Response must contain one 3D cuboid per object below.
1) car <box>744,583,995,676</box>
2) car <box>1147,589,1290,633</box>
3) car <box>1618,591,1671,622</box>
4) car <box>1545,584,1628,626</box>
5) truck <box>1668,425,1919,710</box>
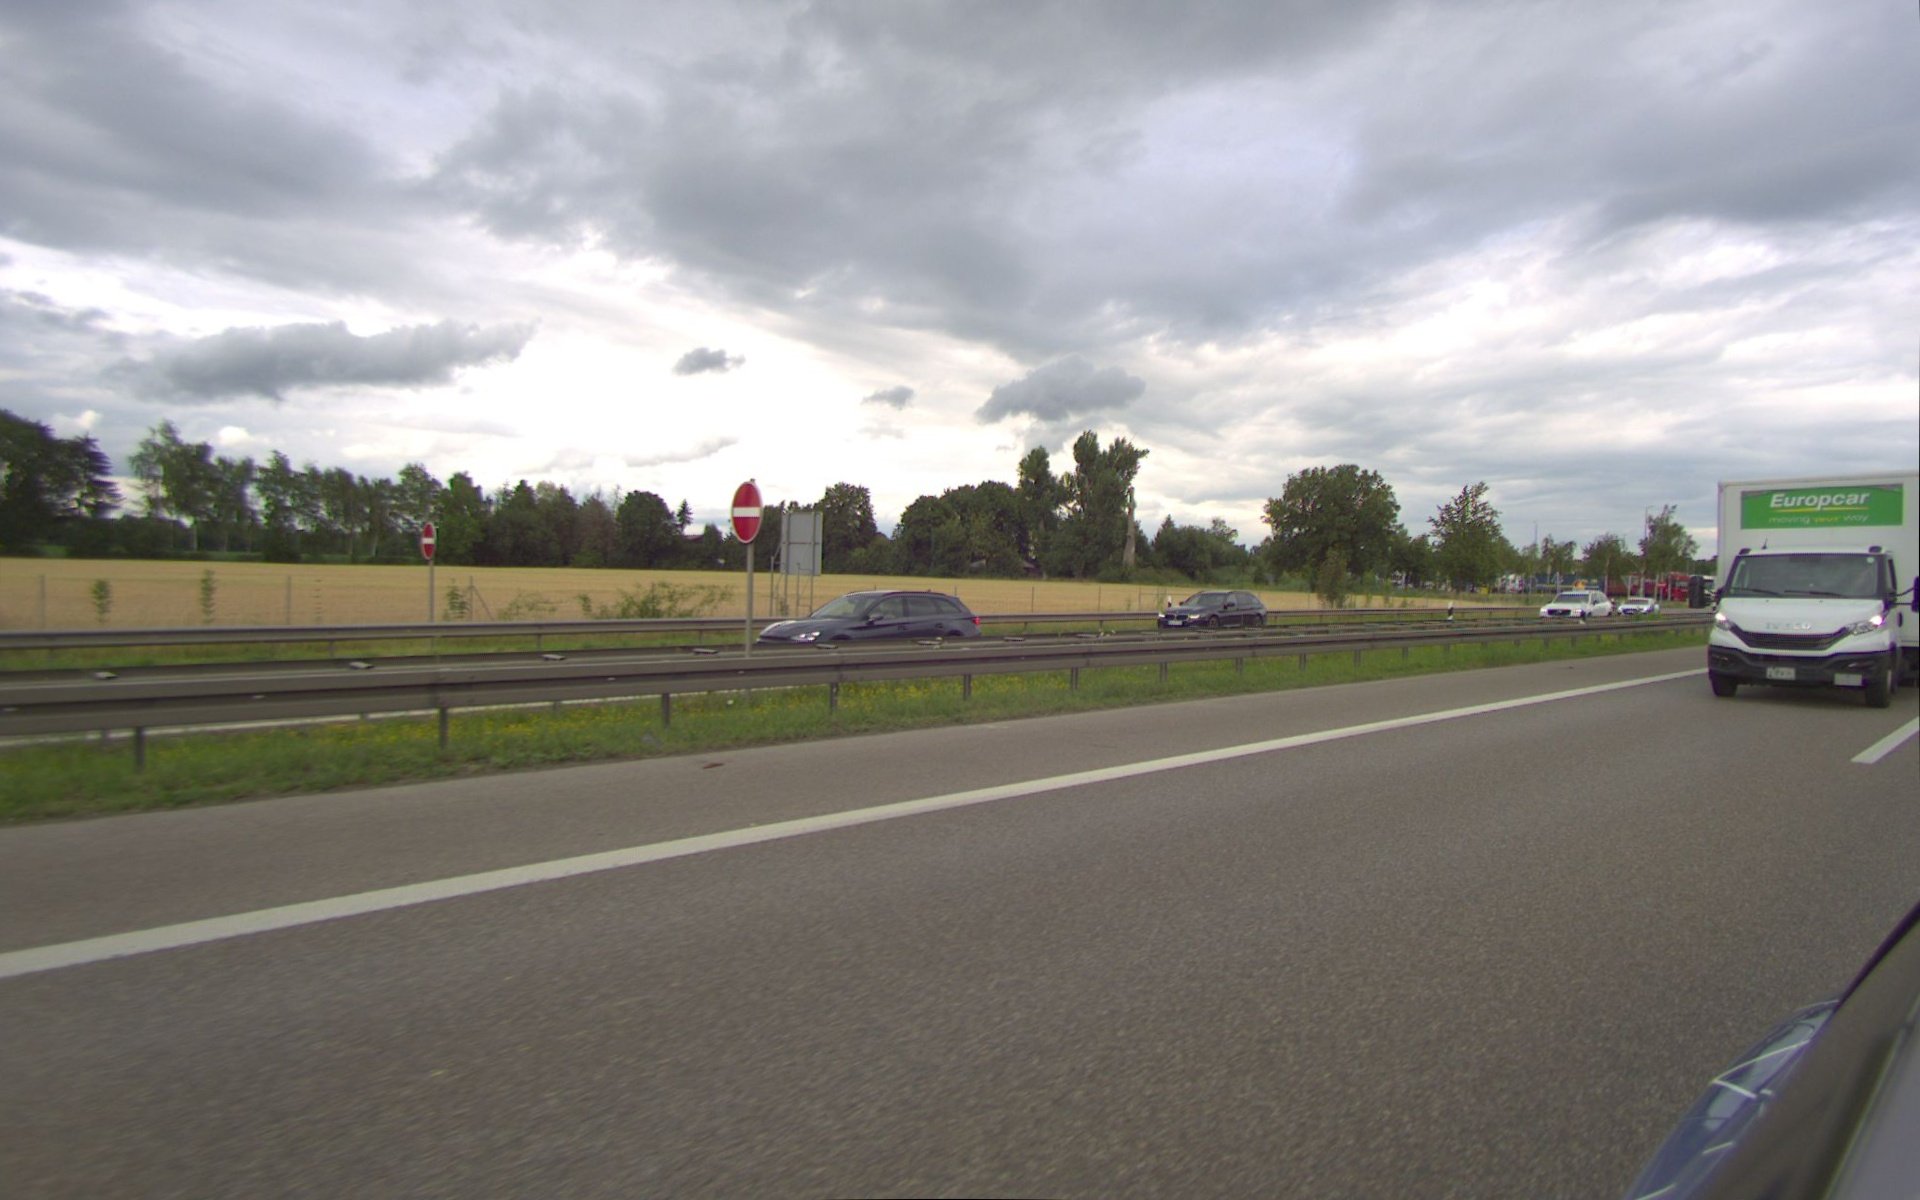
[{"bbox_3d":[-1.544,0.455,18.530,4.518,1.503,1.751,0,0,-44],"label":"car"},{"bbox_3d":[8.712,0.321,33.741,5.616,1.333,1.830,0,0,-42],"label":"car"},{"bbox_3d":[46.226,0.403,68.330,3.930,2.039,1.980,0,0,-41],"label":"car"},{"bbox_3d":[28.661,0.198,46.229,4.977,1.778,1.831,0,2,-41],"label":"car"},{"bbox_3d":[14.489,-0.425,16.494,8.903,3.549,2.775,0,0,-41],"label":"truck"}]
